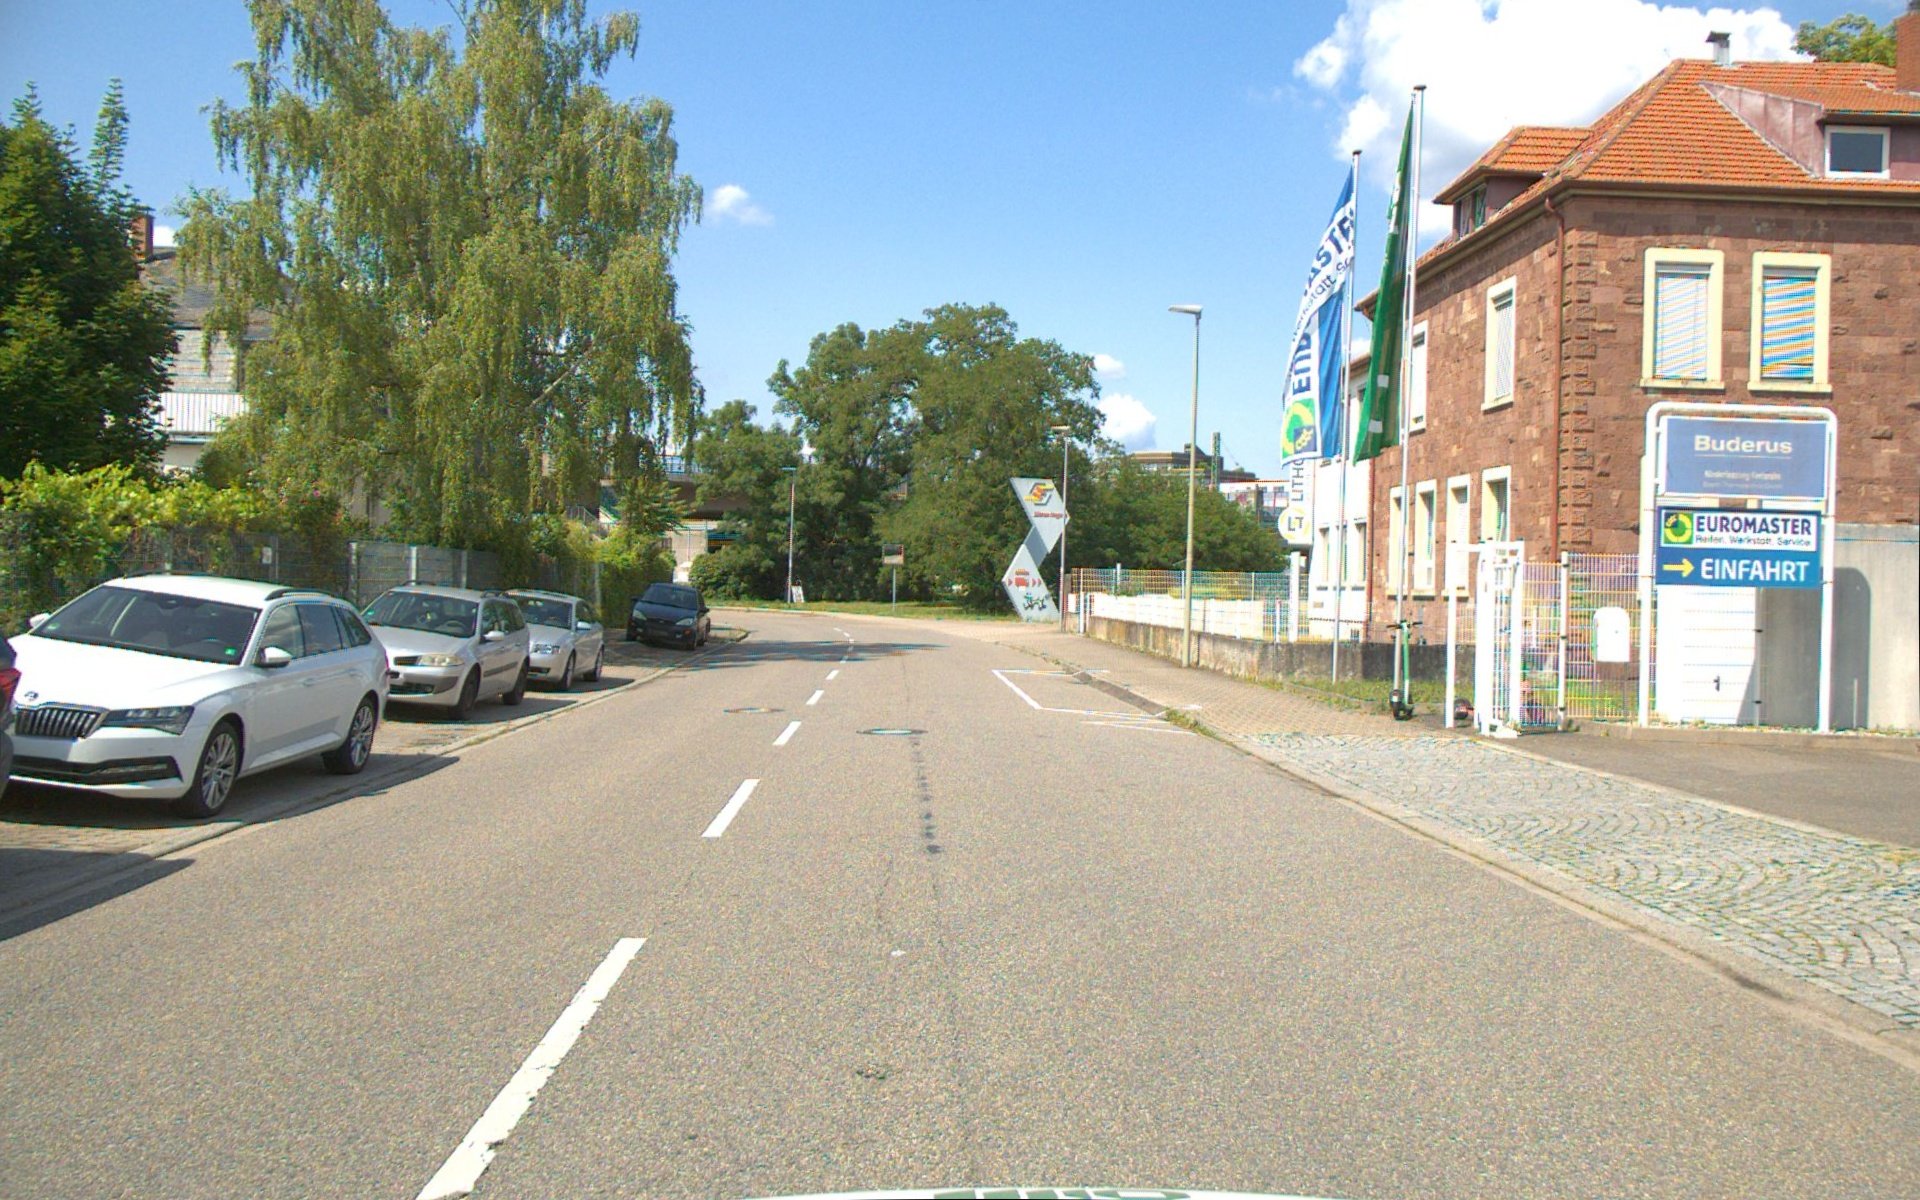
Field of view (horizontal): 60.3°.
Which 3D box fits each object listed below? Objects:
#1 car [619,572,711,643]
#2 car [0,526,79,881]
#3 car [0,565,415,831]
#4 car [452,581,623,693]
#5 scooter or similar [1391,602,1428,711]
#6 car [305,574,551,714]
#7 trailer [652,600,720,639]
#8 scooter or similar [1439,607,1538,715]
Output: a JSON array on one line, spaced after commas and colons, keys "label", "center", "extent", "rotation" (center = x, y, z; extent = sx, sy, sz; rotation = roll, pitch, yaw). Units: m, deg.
[{"label": "car", "center": [-7.305, 0.182, 41.297], "extent": [1.649, 1.538, 4.155], "rotation": [5, 0, -3]}, {"label": "car", "center": [-5.519, 0.496, 6.524], "extent": [1.578, 1.775, 4.635], "rotation": [3, 1, -1]}, {"label": "car", "center": [-5.728, 0.575, 12.586], "extent": [1.666, 1.623, 4.786], "rotation": [1, 1, -2]}, {"label": "car", "center": [-6.749, 0.523, 26.892], "extent": [1.690, 1.502, 4.628], "rotation": [5, 0, -3]}, {"label": "scooter or similar", "center": [5.608, 0.702, 20.663], "extent": [0.326, 1.335, 0.366], "rotation": [1, 0, -3]}, {"label": "car", "center": [-6.552, 0.471, 20.921], "extent": [1.758, 1.554, 4.657], "rotation": [1, 1, -2]}, {"label": "trailer", "center": [-7.464, 0.519, 45.271], "extent": [1.435, 0.865, 2.466], "rotation": [6, 0, -2]}, {"label": "scooter or similar", "center": [6.393, 0.728, 20.031], "extent": [1.122, 1.267, 0.259], "rotation": [1, 0, 16]}]
